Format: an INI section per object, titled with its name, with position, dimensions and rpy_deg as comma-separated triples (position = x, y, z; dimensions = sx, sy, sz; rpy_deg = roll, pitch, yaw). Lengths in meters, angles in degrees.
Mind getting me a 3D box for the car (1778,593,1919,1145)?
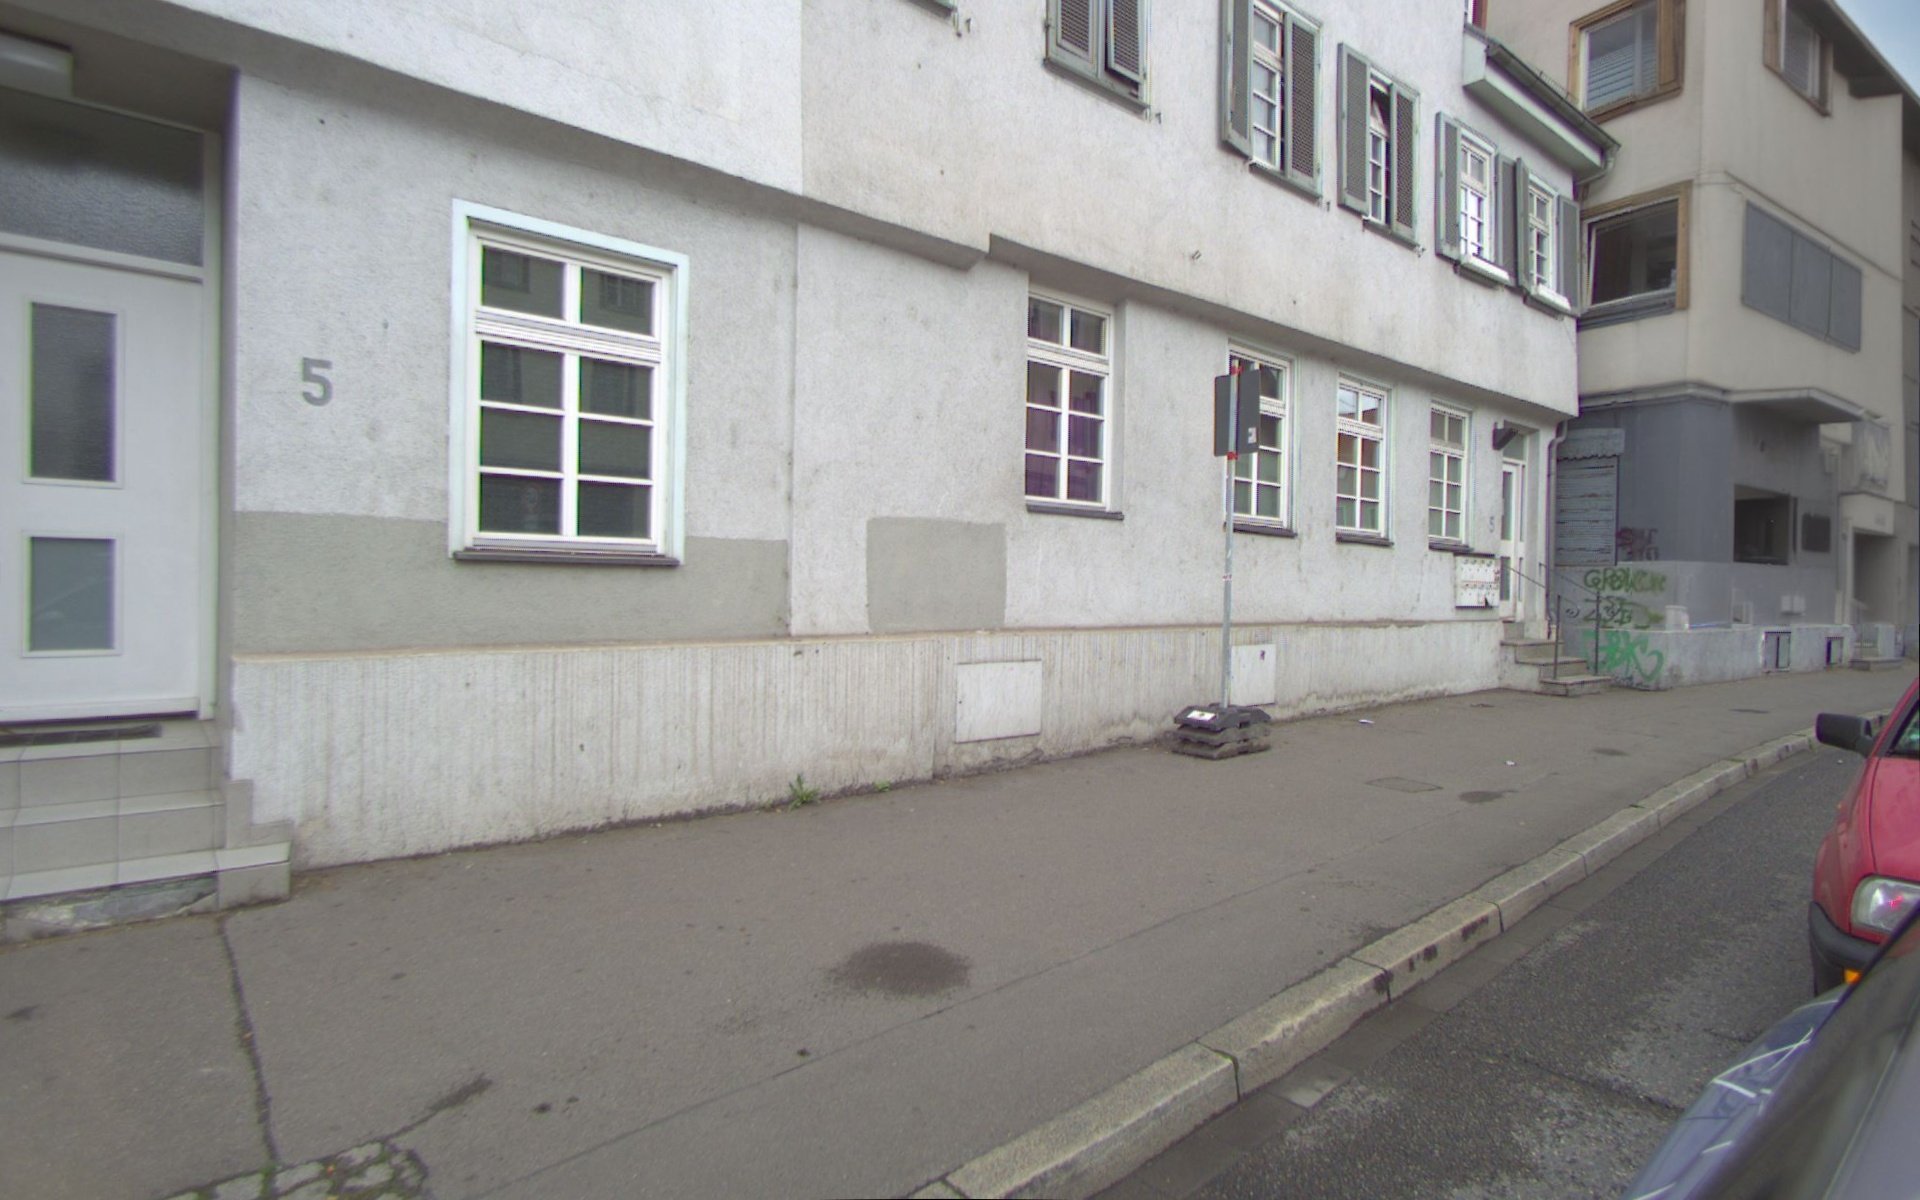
[car]
position = 4.397, 0.704, 3.540
dimensions = 3.931, 1.443, 1.790
rpy_deg = -1, 1, -42
